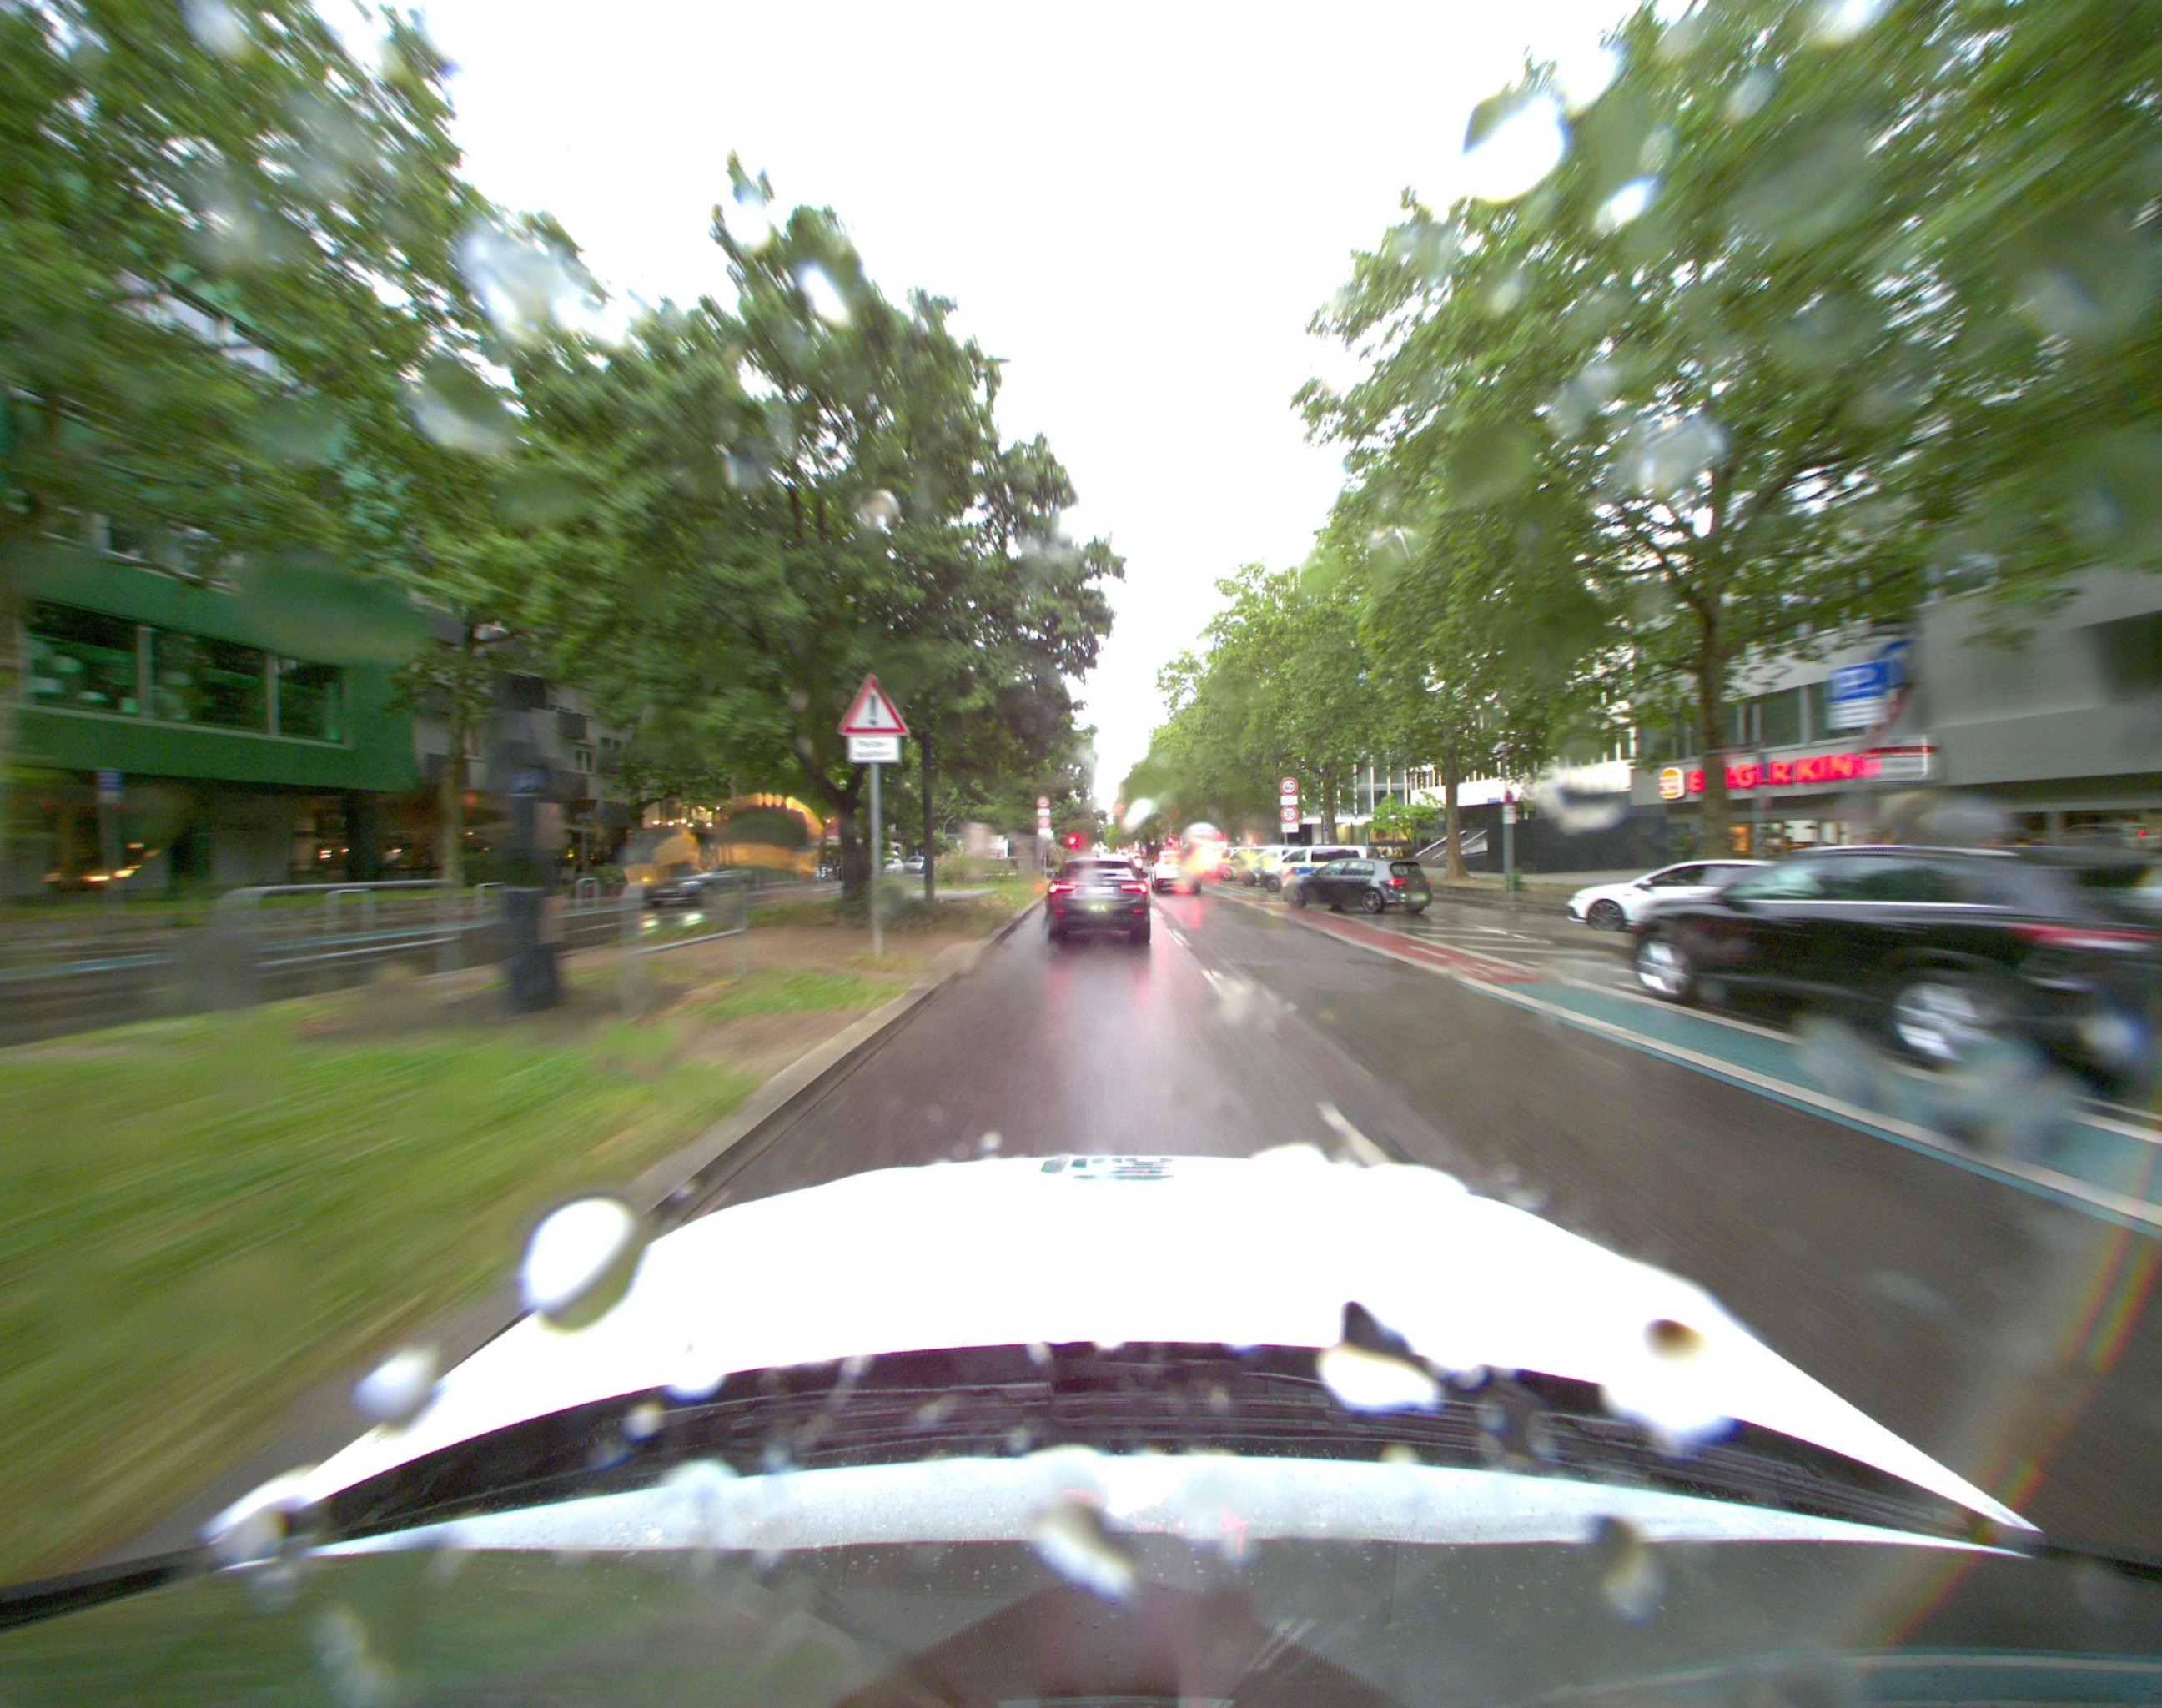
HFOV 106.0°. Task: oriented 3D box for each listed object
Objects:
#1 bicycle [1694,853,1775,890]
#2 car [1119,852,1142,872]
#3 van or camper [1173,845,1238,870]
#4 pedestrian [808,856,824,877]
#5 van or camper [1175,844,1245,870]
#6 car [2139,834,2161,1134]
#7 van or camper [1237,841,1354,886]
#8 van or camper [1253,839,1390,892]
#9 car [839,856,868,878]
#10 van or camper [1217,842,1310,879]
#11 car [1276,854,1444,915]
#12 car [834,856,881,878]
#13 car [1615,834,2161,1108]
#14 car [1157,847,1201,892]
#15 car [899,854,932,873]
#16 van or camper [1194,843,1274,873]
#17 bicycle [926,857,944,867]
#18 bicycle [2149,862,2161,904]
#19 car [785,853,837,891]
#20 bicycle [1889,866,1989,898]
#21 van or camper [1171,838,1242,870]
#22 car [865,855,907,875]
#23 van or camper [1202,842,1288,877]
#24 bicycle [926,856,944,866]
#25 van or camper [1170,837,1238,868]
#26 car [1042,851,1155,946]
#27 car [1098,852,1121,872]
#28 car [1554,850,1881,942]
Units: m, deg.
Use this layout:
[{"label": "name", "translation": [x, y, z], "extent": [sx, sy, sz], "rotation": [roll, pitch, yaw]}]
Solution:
[{"label": "bicycle", "translation": [18.682, 0.477, 23.332], "extent": [0.640, 0.923, 1.911], "rotation": [-6, 1, -3]}, {"label": "car", "translation": [4.470, 0.727, 74.136], "extent": [1.986, 1.750, 4.002], "rotation": [-1, 0, 2]}, {"label": "van or camper", "translation": [10.326, 0.331, 67.522], "extent": [4.952, 2.014, 2.013], "rotation": [-1, -1, 37]}, {"label": "pedestrian", "translation": [-17.916, 0.858, 55.113], "extent": [0.761, 1.380, 0.933], "rotation": [0, 0, -2]}, {"label": "van or camper", "translation": [10.136, 0.261, 64.131], "extent": [5.142, 1.992, 2.013], "rotation": [0, -1, 36]}, {"label": "car", "translation": [6.679, 0.696, 2.245], "extent": [1.747, 1.585, 4.406], "rotation": [0, 0, -3]}, {"label": "van or camper", "translation": [10.244, 0.409, 39.065], "extent": [5.023, 2.019, 2.010], "rotation": [1, 0, 38]}, {"label": "van or camper", "translation": [9.570, 0.425, 32.648], "extent": [4.884, 1.992, 2.015], "rotation": [0, 0, 39]}, {"label": "car", "translation": [-15.046, 0.839, 54.003], "extent": [1.046, 1.387, 2.695], "rotation": [-1, 0, 2]}, {"label": "van or camper", "translation": [10.269, 0.360, 46.042], "extent": [4.792, 1.998, 1.880], "rotation": [-1, 0, 38]}, {"label": "car", "translation": [7.277, 0.739, 21.614], "extent": [1.777, 1.413, 3.959], "rotation": [-2, 0, -33]}, {"label": "car", "translation": [-14.906, 0.861, 54.559], "extent": [1.818, 1.394, 4.485], "rotation": [-1, 0, 1]}, {"label": "car", "translation": [6.918, 0.689, 6.995], "extent": [1.787, 1.603, 4.423], "rotation": [0, 0, 0]}, {"label": "car", "translation": [3.885, 0.583, 32.649], "extent": [1.428, 1.685, 2.980], "rotation": [-1, 0, 2]}, {"label": "car", "translation": [-14.573, 0.801, 72.061], "extent": [1.987, 1.509, 4.516], "rotation": [-1, 0, -1]}, {"label": "van or camper", "translation": [10.625, 0.291, 56.843], "extent": [5.042, 2.025, 2.119], "rotation": [-1, 0, 39]}, {"label": "bicycle", "translation": [-16.090, 0.892, 89.530], "extent": [1.839, 0.979, 0.565], "rotation": [-1, 0, -2]}, {"label": "bicycle", "translation": [23.949, 0.669, 16.999], "extent": [0.581, 0.895, 2.076], "rotation": [-3, 2, -1]}, {"label": "car", "translation": [-12.312, 0.771, 37.360], "extent": [1.720, 1.626, 4.423], "rotation": [0, 0, -12]}, {"label": "bicycle", "translation": [23.970, 0.775, 22.798], "extent": [0.640, 0.819, 1.908], "rotation": [-1, 0, -7]}, {"label": "van or camper", "translation": [10.843, 0.009, 70.403], "extent": [5.737, 2.680, 2.013], "rotation": [-1, 0, 36]}, {"label": "car", "translation": [-14.661, 0.792, 61.531], "extent": [1.986, 1.370, 4.541], "rotation": [1, 0, 1]}, {"label": "van or camper", "translation": [9.998, 0.348, 49.911], "extent": [4.733, 2.011, 2.013], "rotation": [-1, -1, 37]}, {"label": "bicycle", "translation": [-16.147, 0.805, 90.173], "extent": [1.842, 1.098, 0.613], "rotation": [-1, 0, -7]}, {"label": "van or camper", "translation": [11.079, -0.100, 73.659], "extent": [5.741, 2.677, 2.161], "rotation": [-1, 0, 38]}, {"label": "car", "translation": [0.397, 0.735, 15.771], "extent": [1.856, 1.532, 4.530], "rotation": [-1, 0, 3]}, {"label": "car", "translation": [2.282, 0.636, 65.800], "extent": [1.715, 1.577, 3.962], "rotation": [-1, 0, 1]}, {"label": "car", "translation": [11.557, 0.695, 15.096], "extent": [1.876, 1.445, 4.458], "rotation": [3, -2, -38]}]
